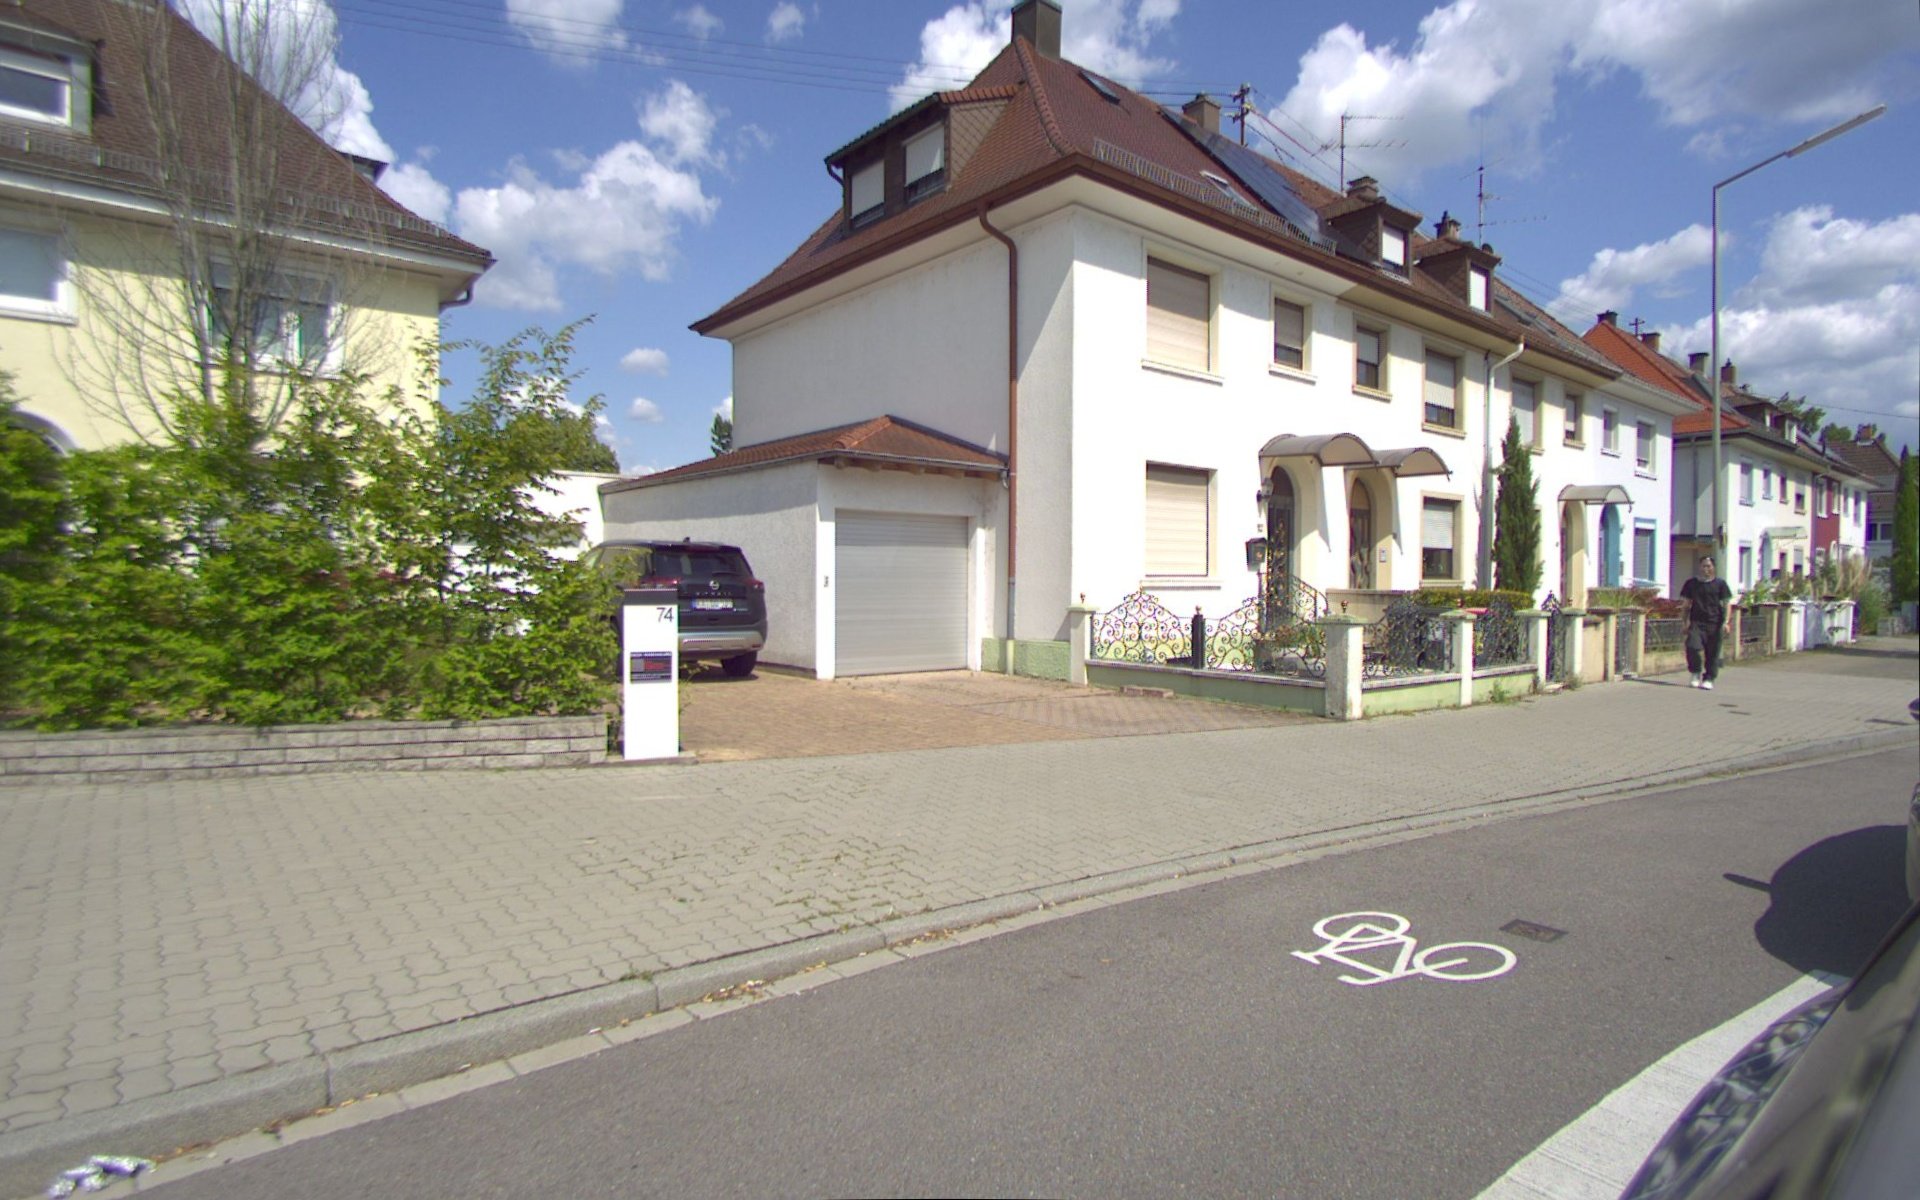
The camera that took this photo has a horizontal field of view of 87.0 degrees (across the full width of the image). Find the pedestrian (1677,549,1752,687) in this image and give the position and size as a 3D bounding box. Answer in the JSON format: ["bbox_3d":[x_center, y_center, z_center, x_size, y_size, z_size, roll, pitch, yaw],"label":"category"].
[{"bbox_3d":[10.153,0.225,13.618,0.921,1.790,0.592,0,1,-41],"label":"pedestrian"}]

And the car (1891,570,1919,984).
[{"bbox_3d":[5.699,0.646,4.607,4.607,1.492,1.764,0,1,-43],"label":"car"}]

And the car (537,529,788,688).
[{"bbox_3d":[-4.011,0.042,13.190,1.833,1.729,3.998,0,1,-37],"label":"car"}]
